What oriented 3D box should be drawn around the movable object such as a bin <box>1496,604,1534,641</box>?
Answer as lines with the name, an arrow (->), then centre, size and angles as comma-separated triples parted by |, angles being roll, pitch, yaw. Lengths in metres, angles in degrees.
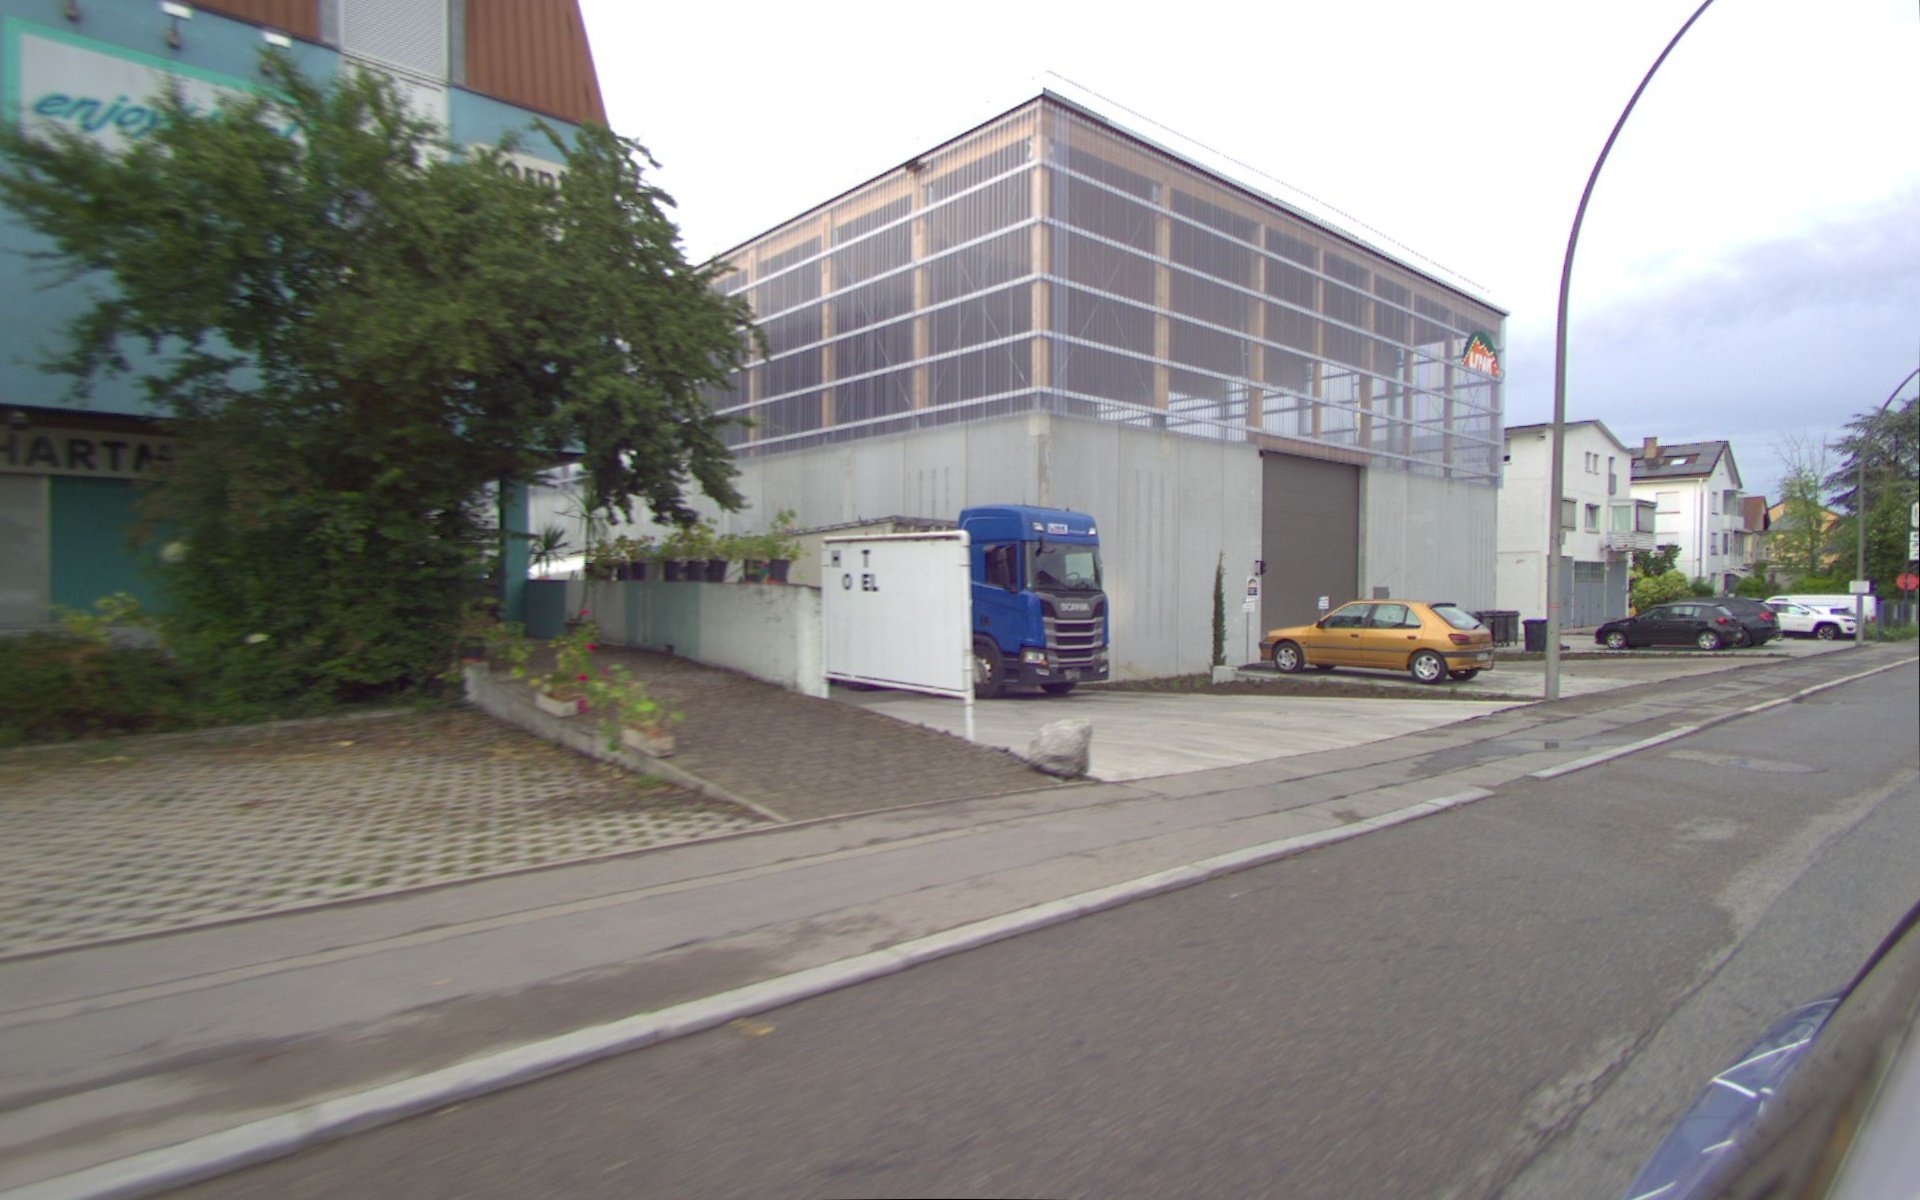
movable object such as a bin -> 20.816, 0.830, 37.956 | 1.307, 1.356, 0.839 | 0, 0, -40

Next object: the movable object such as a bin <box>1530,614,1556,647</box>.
movable object such as a bin -> 19.209, 0.994, 33.354 | 0.633, 1.068, 0.575 | 0, 0, -40

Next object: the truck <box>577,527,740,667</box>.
truck -> -9.636, -0.057, 31.949 | 2.673, 3.971, 6.087 | 0, -1, -41

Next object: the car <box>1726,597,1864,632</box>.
car -> 35.592, 0.582, 43.232 | 1.818, 1.396, 4.326 | 0, 0, -41

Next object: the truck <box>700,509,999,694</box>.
truck -> -3.015, 0.054, 24.532 | 2.676, 3.754, 8.544 | 0, -1, -42

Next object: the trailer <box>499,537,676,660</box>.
trailer -> -13.754, -0.085, 36.719 | 2.675, 3.908, 9.922 | 0, 0, -41

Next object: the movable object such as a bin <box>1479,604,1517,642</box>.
movable object such as a bin -> 19.649, 0.836, 36.953 | 1.262, 1.356, 0.839 | 0, 0, -40

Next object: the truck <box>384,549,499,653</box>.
truck -> -21.421, -0.065, 41.637 | 2.928, 3.952, 5.778 | 0, 1, -41

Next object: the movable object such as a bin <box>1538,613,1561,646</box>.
movable object such as a bin -> 19.661, 0.980, 33.740 | 0.534, 1.068, 0.513 | 0, 0, -40

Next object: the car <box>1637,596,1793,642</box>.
car -> 27.291, 0.659, 36.709 | 1.780, 1.555, 4.250 | 0, -1, -40

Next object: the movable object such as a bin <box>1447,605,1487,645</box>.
movable object such as a bin -> 17.667, 0.868, 35.235 | 1.192, 1.356, 0.839 | 0, 0, -40

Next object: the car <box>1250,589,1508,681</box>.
car -> 7.419, 0.545, 18.201 | 1.603, 1.448, 3.993 | 0, 1, -42

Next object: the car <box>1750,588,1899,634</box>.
car -> 37.934, 0.448, 44.517 | 1.965, 1.910, 4.740 | 0, 0, -40

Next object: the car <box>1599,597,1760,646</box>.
car -> 23.497, 0.655, 33.174 | 1.800, 1.509, 3.974 | 0, 0, -39

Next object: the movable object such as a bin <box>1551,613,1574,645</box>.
movable object such as a bin -> 20.510, 0.993, 34.448 | 0.496, 1.068, 0.518 | 0, 0, -40

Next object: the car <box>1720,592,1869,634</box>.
car -> 33.921, 0.494, 41.234 | 1.861, 1.645, 4.452 | 0, 0, -41

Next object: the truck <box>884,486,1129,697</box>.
truck -> 0.855, -0.088, 20.260 | 2.674, 3.721, 4.147 | 0, -2, -43

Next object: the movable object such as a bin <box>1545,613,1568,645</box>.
movable object such as a bin -> 20.100, 0.978, 34.106 | 0.542, 1.068, 0.496 | 0, 0, -40

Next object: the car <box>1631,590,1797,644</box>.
car -> 25.642, 0.537, 34.500 | 1.946, 1.696, 4.233 | 0, 0, -41

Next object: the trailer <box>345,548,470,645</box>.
trailer -> -25.364, -0.285, 46.168 | 3.020, 3.969, 9.349 | 0, 2, -41

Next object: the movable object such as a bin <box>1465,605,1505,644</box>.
movable object such as a bin -> 18.697, 0.850, 36.044 | 1.298, 1.356, 0.839 | 0, 0, -40
